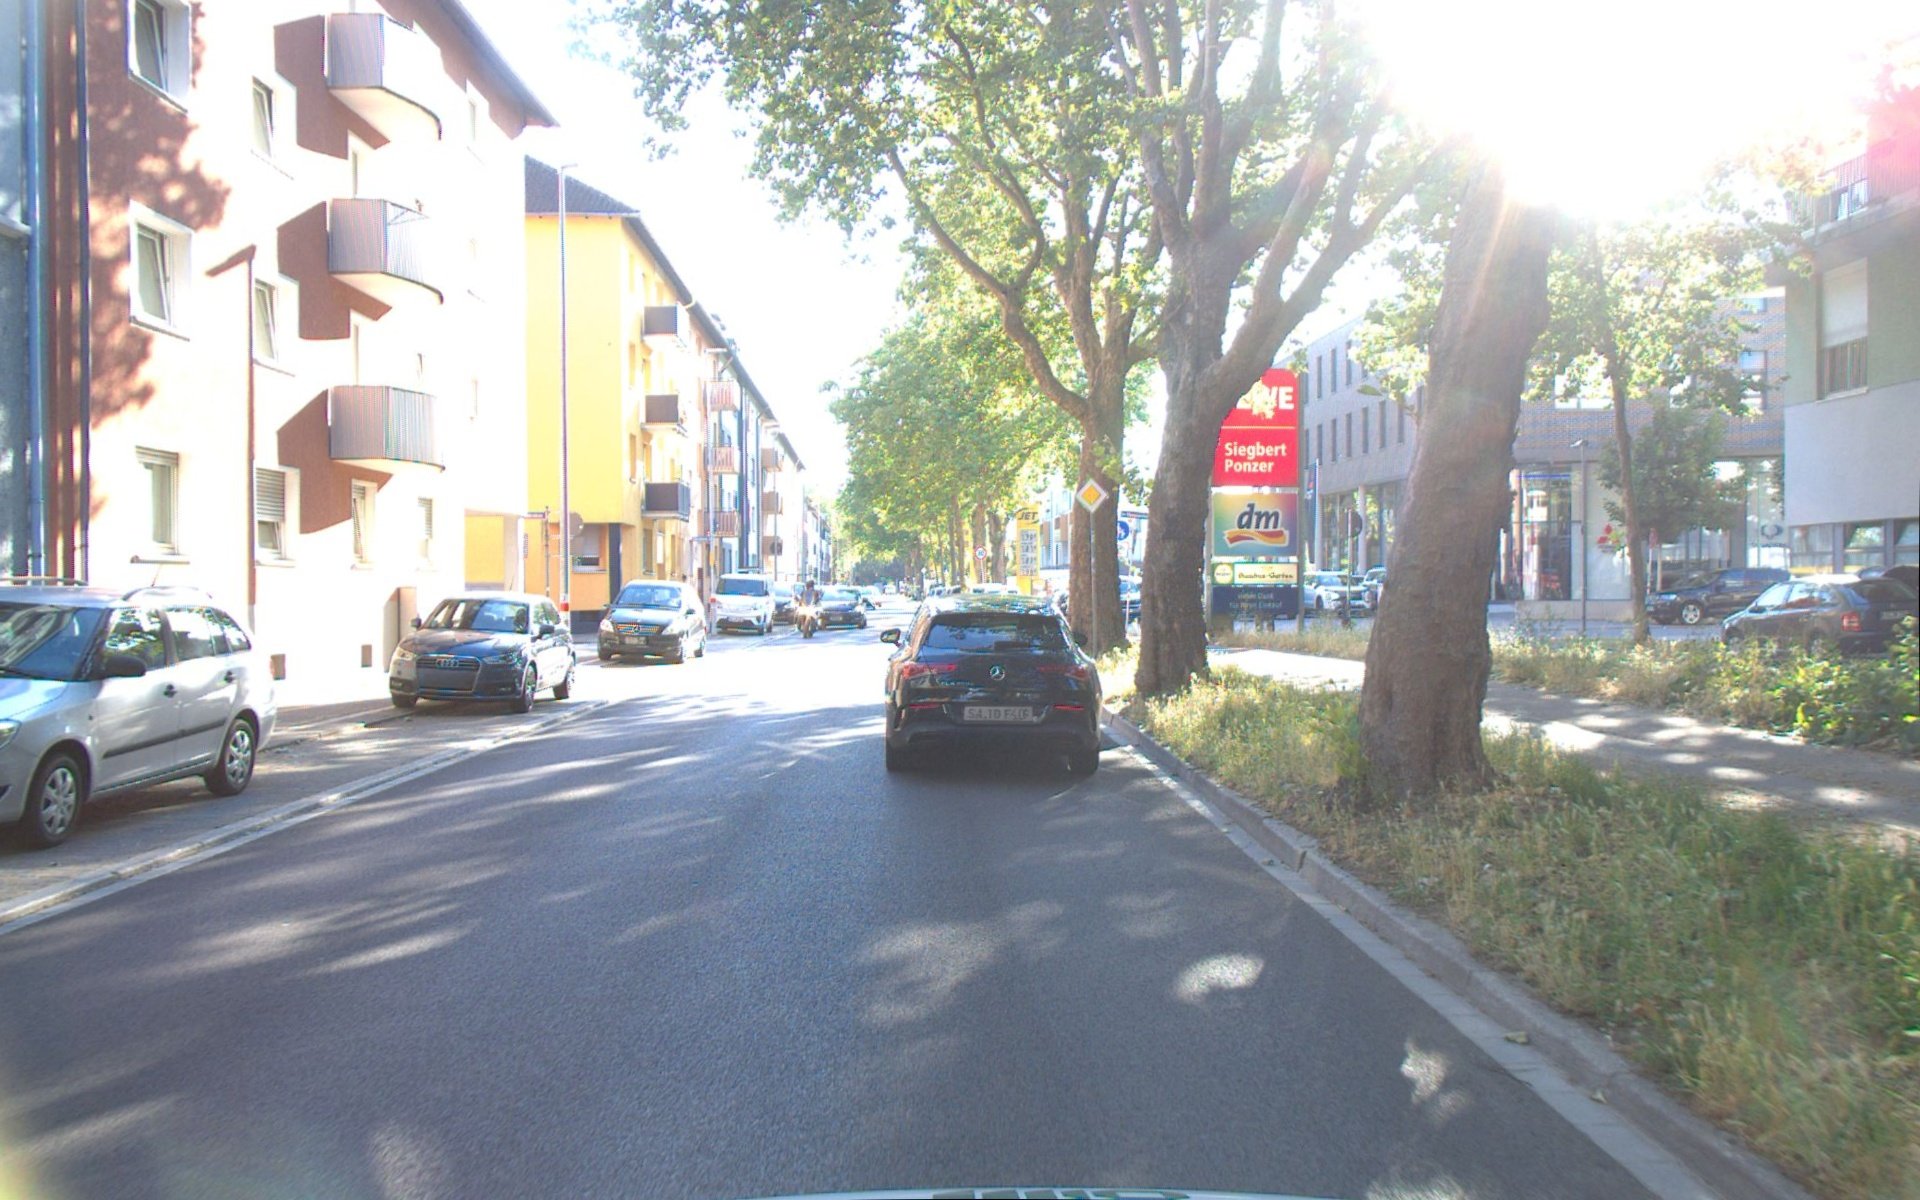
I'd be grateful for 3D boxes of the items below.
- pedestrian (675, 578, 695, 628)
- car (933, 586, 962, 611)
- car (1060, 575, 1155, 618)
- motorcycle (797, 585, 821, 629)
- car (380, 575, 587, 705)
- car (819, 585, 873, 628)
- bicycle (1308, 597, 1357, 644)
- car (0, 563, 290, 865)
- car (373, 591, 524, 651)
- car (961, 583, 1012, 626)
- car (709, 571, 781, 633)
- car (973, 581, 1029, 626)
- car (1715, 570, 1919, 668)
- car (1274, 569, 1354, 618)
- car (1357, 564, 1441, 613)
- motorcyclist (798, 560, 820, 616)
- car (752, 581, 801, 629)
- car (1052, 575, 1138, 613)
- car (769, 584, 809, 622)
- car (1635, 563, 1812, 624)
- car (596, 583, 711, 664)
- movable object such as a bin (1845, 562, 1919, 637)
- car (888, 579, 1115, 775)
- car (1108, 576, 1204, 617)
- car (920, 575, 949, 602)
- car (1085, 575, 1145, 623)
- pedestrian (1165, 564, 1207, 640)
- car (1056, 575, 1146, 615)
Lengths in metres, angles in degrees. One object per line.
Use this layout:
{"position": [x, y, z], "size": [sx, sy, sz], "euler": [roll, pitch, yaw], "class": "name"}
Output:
{"position": [-9.996, 0.108, 60.096], "size": [0.575, 1.821, 0.642], "euler": [-1, 0, -1], "class": "pedestrian"}
{"position": [-0.807, -0.104, 106.368], "size": [1.688, 1.585, 3.598], "euler": [1, 0, -3], "class": "car"}
{"position": [6.115, -0.160, 68.507], "size": [3.780, 1.637, 1.718], "euler": [-2, 1, -38], "class": "car"}
{"position": [-4.517, 0.208, 49.587], "size": [0.536, 1.263, 2.263], "euler": [-3, 0, -2], "class": "motorcycle"}
{"position": [-6.080, 0.461, 21.489], "size": [1.643, 1.512, 3.601], "euler": [1, 0, 0], "class": "car"}
{"position": [-4.148, 0.211, 60.748], "size": [1.735, 1.504, 4.321], "euler": [-1, 1, -1], "class": "car"}
{"position": [8.419, 0.451, 37.470], "size": [0.377, 1.021, 1.479], "euler": [-1, 0, -18], "class": "bicycle"}
{"position": [-6.136, 0.597, 11.103], "size": [1.643, 1.670, 3.984], "euler": [1, 0, 0], "class": "car"}
{"position": [-14.393, 0.581, 46.677], "size": [3.707, 1.594, 1.748], "euler": [-1, 0, -1], "class": "car"}
{"position": [1.008, 0.185, 65.720], "size": [1.774, 1.565, 4.582], "euler": [-3, 0, -1], "class": "car"}
{"position": [-7.059, 0.045, 54.670], "size": [1.699, 1.940, 5.208], "euler": [0, 0, 0], "class": "car"}
{"position": [1.430, 0.123, 58.902], "size": [1.602, 1.493, 4.018], "euler": [-2, 0, -3], "class": "car"}
{"position": [14.568, 0.267, 27.668], "size": [1.822, 1.494, 4.121], "euler": [-1, 1, -3], "class": "car"}
{"position": [13.207, -0.259, 61.968], "size": [1.839, 1.764, 4.177], "euler": [-1, 1, -4], "class": "car"}
{"position": [16.403, -0.429, 61.966], "size": [1.945, 1.764, 4.179], "euler": [-1, 1, -1], "class": "car"}
{"position": [-4.527, -0.359, 49.559], "size": [0.574, 1.633, 0.831], "euler": [-1, 0, -2], "class": "motorcyclist"}
{"position": [-7.423, 0.178, 67.110], "size": [1.710, 1.819, 4.546], "euler": [1, 0, -3], "class": "car"}
{"position": [6.209, -0.266, 75.783], "size": [3.784, 1.606, 1.721], "euler": [-2, 1, -40], "class": "car"}
{"position": [-7.798, 0.117, 75.616], "size": [1.565, 1.669, 4.409], "euler": [1, 0, -3], "class": "car"}
{"position": [22.946, -0.216, 49.788], "size": [4.395, 1.691, 2.029], "euler": [-2, 1, -5], "class": "car"}
{"position": [-6.313, 0.447, 34.436], "size": [1.643, 1.550, 4.021], "euler": [1, 0, 0], "class": "car"}
{"position": [18.786, -0.015, 33.437], "size": [1.167, 1.488, 1.408], "euler": [-1, 0, 10], "class": "movable object such as a bin"}
{"position": [0.296, 0.571, 14.609], "size": [1.709, 1.468, 3.968], "euler": [1, 0, -1], "class": "car"}
{"position": [7.973, -0.161, 67.089], "size": [3.777, 1.572, 1.642], "euler": [-1, 1, -36], "class": "car"}
{"position": [-2.060, -0.938, 131.811], "size": [1.955, 2.049, 3.995], "euler": [0, -1, -6], "class": "car"}
{"position": [5.777, -0.058, 62.030], "size": [1.717, 1.699, 4.156], "euler": [-1, 1, -2], "class": "car"}
{"position": [5.421, 0.045, 39.730], "size": [0.754, 1.792, 0.662], "euler": [-2, 0, -11], "class": "pedestrian"}
{"position": [6.134, -0.244, 71.727], "size": [3.784, 1.606, 1.716], "euler": [-2, 1, -40], "class": "car"}
